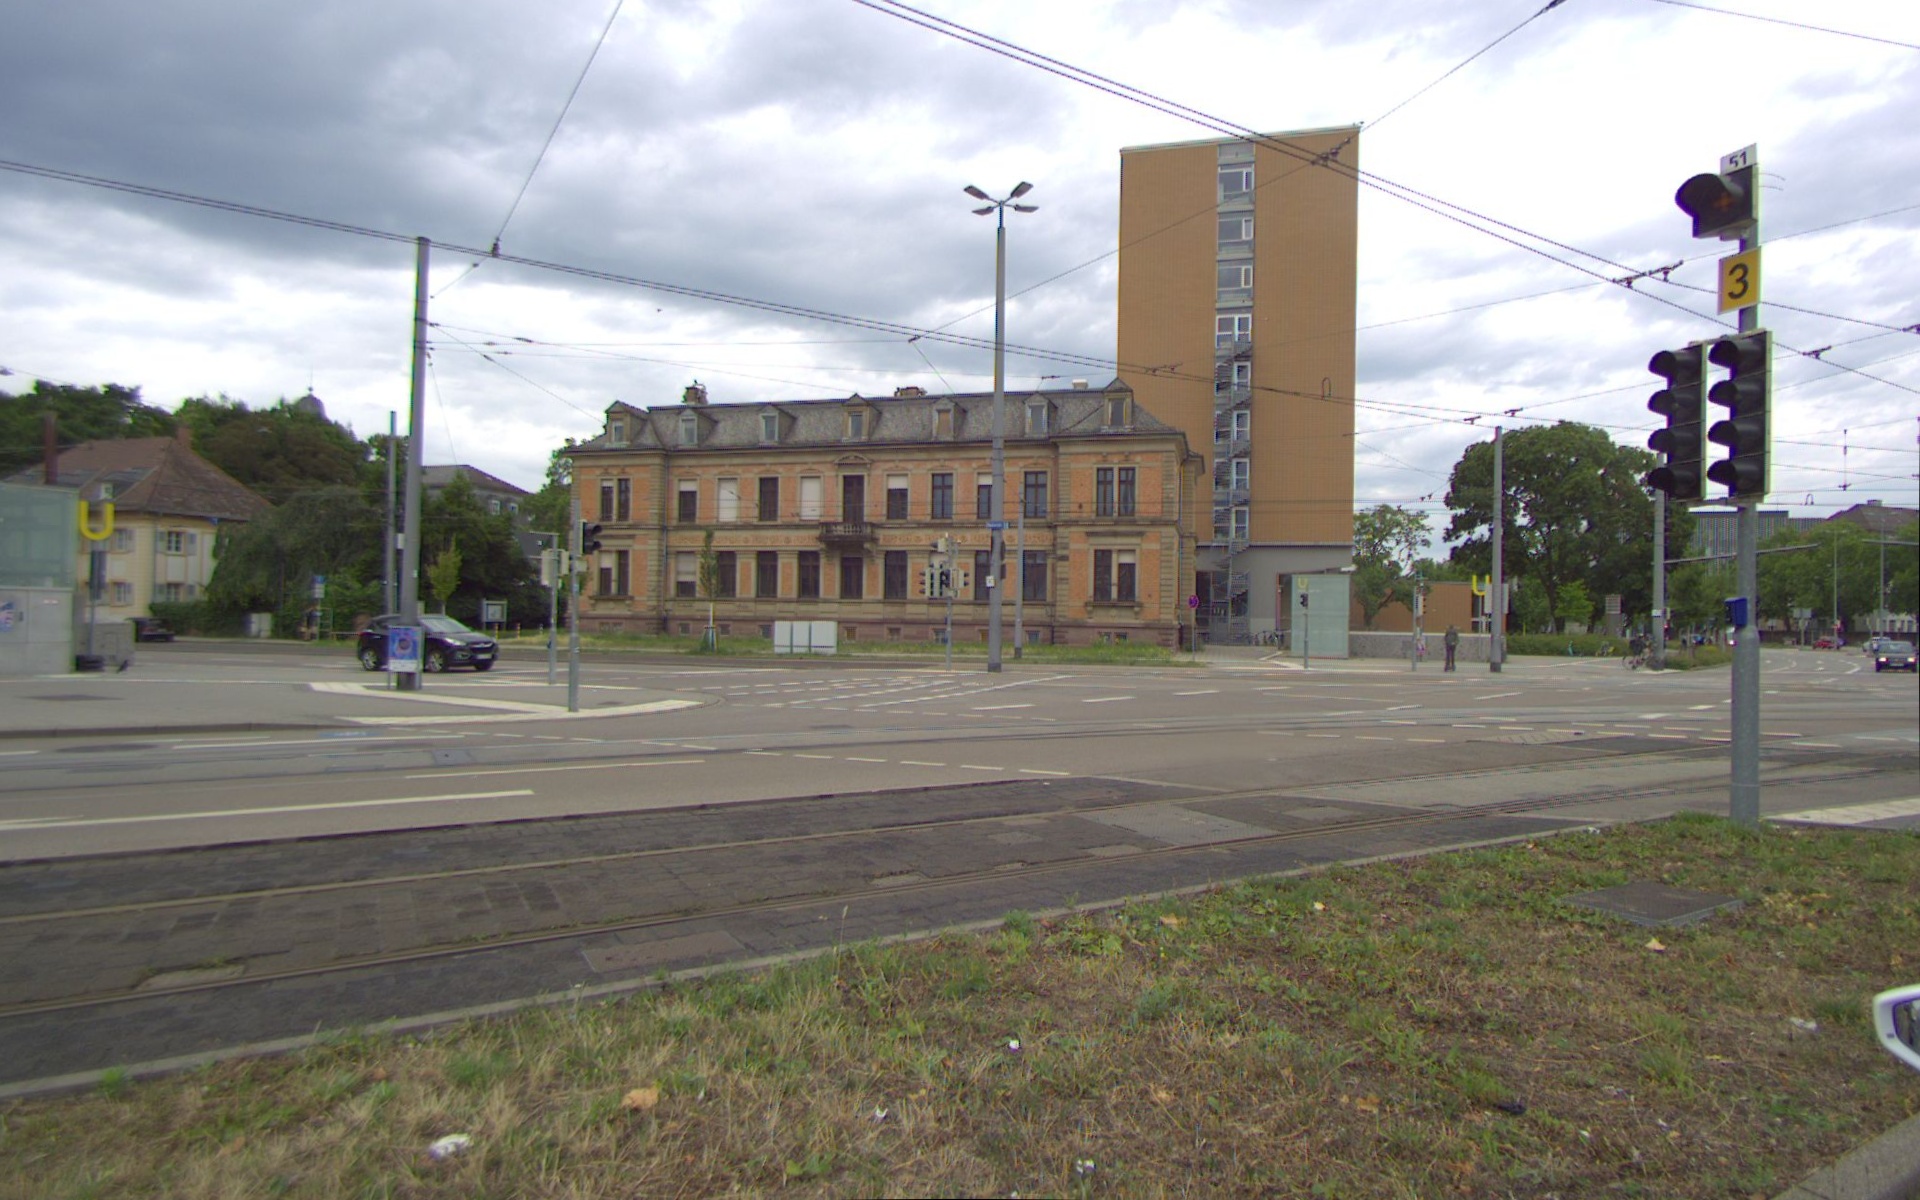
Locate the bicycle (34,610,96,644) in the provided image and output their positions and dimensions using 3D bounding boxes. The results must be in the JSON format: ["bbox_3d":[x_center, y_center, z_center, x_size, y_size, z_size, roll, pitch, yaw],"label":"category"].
[{"bbox_3d":[-48.178,1.431,54.083,3.024,1.773,1.086,1,-1,18],"label":"bicycle"}]

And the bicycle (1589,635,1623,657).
[{"bbox_3d":[43.613,3.087,67.811,2.223,1.468,0.844,1,-1,-25],"label":"bicycle"}]

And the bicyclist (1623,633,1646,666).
[{"bbox_3d":[34.100,2.512,50.793,0.804,1.678,0.790,-4,-5,42],"label":"bicyclist"}]

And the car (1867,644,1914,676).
[{"bbox_3d":[47.187,2.997,50.997,1.600,1.535,3.646,-1,-2,41],"label":"car"}]

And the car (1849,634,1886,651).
[{"bbox_3d":[94.670,4.457,104.843,1.964,1.661,3.994,0,-1,28],"label":"car"}]

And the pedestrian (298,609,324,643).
[{"bbox_3d":[-35.749,1.417,55.302,0.832,1.857,0.810,1,-1,16],"label":"pedestrian"}]

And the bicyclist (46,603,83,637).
[{"bbox_3d":[-48.215,1.085,54.113,0.996,1.806,1.093,1,-1,17],"label":"bicyclist"}]

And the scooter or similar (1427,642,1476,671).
[{"bbox_3d":[20.999,2.422,42.918,1.872,1.180,0.573,1,-1,-9],"label":"scooter or similar"}]

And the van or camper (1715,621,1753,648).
[{"bbox_3d":[75.635,3.331,98.256,2.246,2.561,5.561,-1,-2,31],"label":"van or camper"}]

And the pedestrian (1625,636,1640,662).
[{"bbox_3d":[46.899,3.403,70.054,0.681,1.756,0.739,1,-1,-44],"label":"pedestrian"}]

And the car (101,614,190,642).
[{"bbox_3d":[-44.830,1.538,55.294,3.920,1.450,2.001,0,-1,18],"label":"car"}]

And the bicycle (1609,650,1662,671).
[{"bbox_3d":[34.109,3.037,50.744,2.091,1.041,0.791,-2,-4,43],"label":"bicycle"}]

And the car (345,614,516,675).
[{"bbox_3d":[-15.596,1.283,29.682,4.159,1.632,2.001,1,-1,14],"label":"car"}]

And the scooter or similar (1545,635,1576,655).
[{"bbox_3d":[40.528,3.025,67.788,1.744,1.319,0.629,0,-1,29],"label":"scooter or similar"}]

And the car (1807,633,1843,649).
[{"bbox_3d":[98.047,4.627,113.893,1.962,1.795,3.998,1,-1,23],"label":"car"}]

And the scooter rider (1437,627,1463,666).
[{"bbox_3d":[20.922,1.972,42.915,0.807,1.649,0.568,1,-1,-9],"label":"scooter rider"}]

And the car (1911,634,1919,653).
[{"bbox_3d":[92.127,4.163,95.178,1.964,1.773,3.994,0,-1,29],"label":"car"}]
